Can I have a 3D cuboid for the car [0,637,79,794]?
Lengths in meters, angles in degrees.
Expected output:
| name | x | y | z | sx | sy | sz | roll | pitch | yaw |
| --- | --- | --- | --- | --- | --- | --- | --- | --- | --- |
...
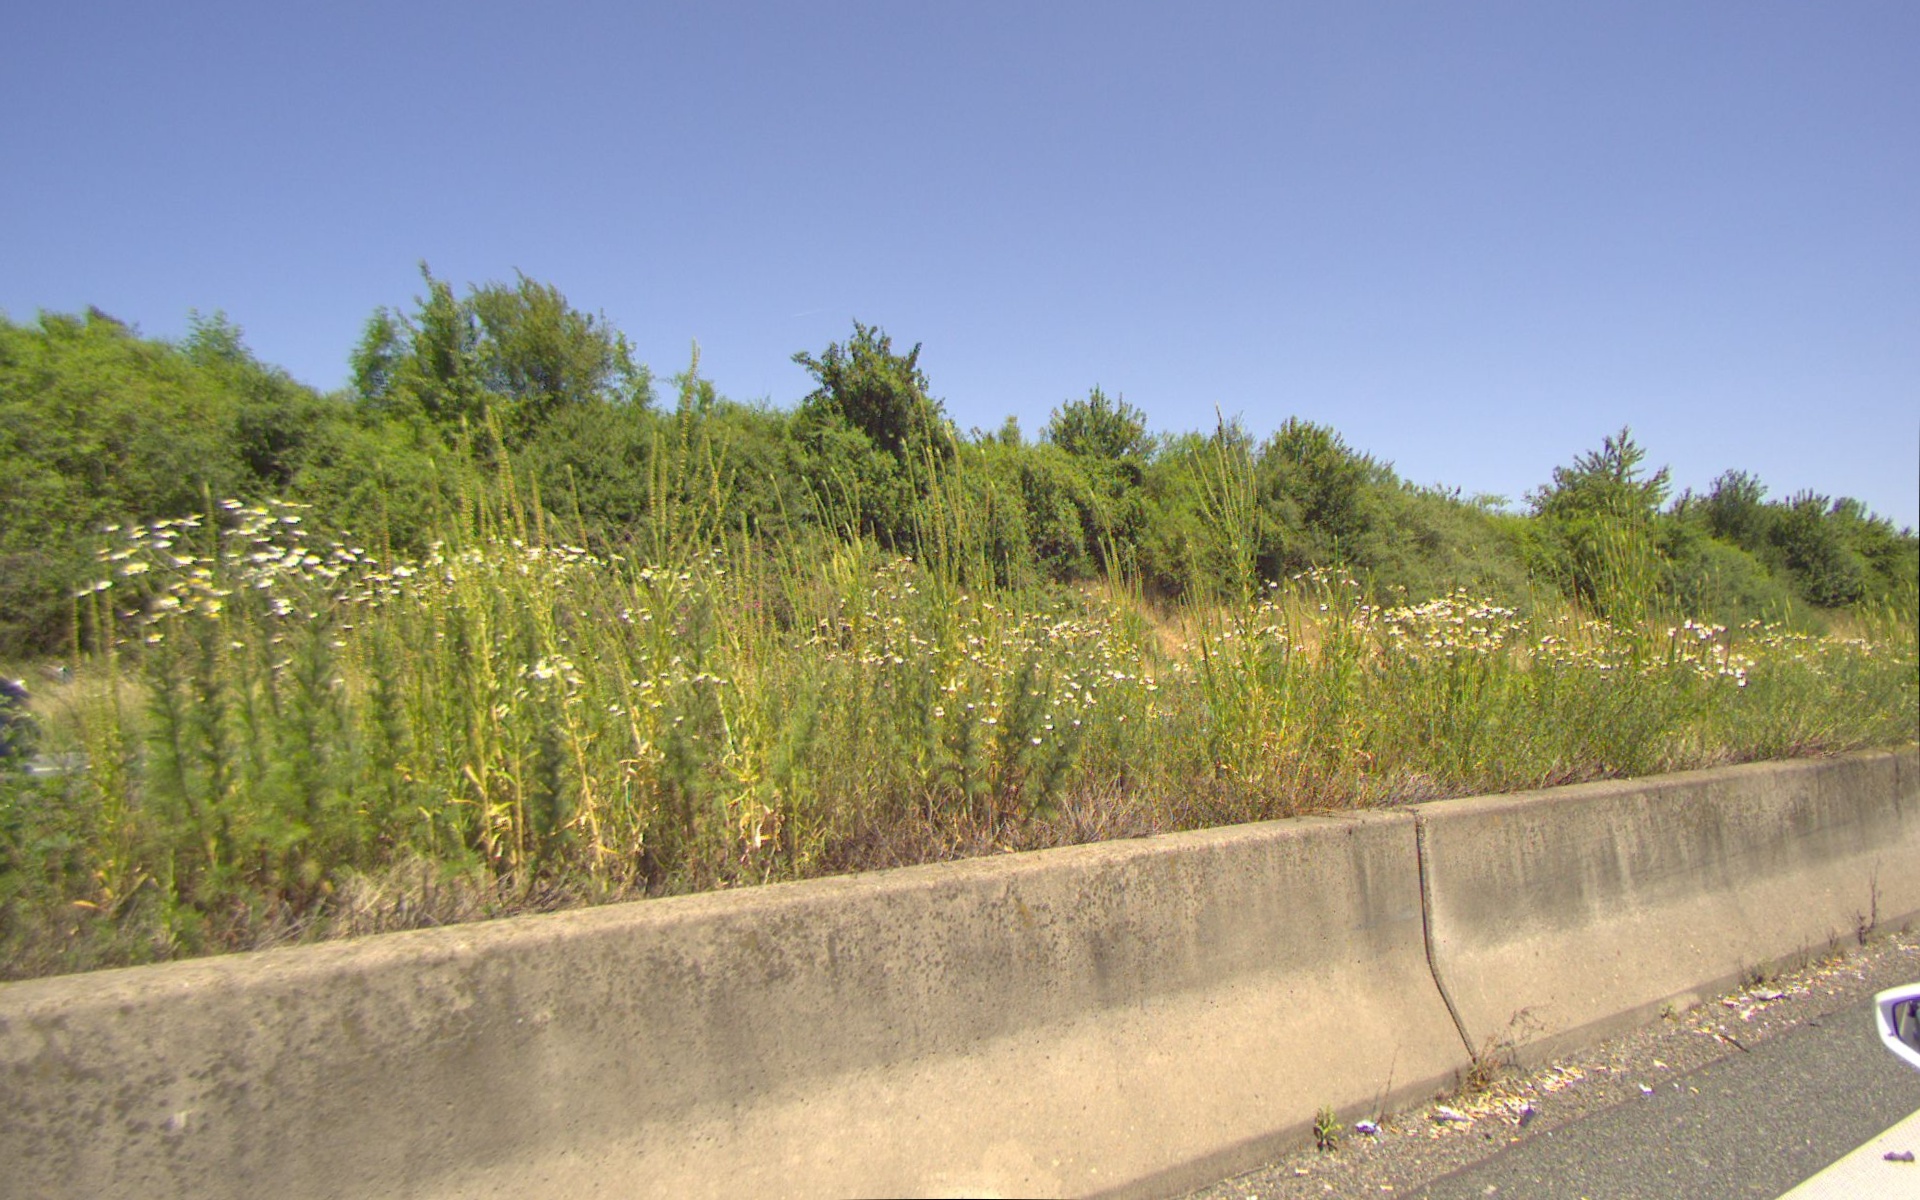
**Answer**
| name | x | y | z | sx | sy | sz | roll | pitch | yaw |
| --- | --- | --- | --- | --- | --- | --- | --- | --- | --- |
| car | -11.349 | 1.130 | 9.710 | 3.953 | 1.523 | 1.663 | 1 | -2 | -31 |
